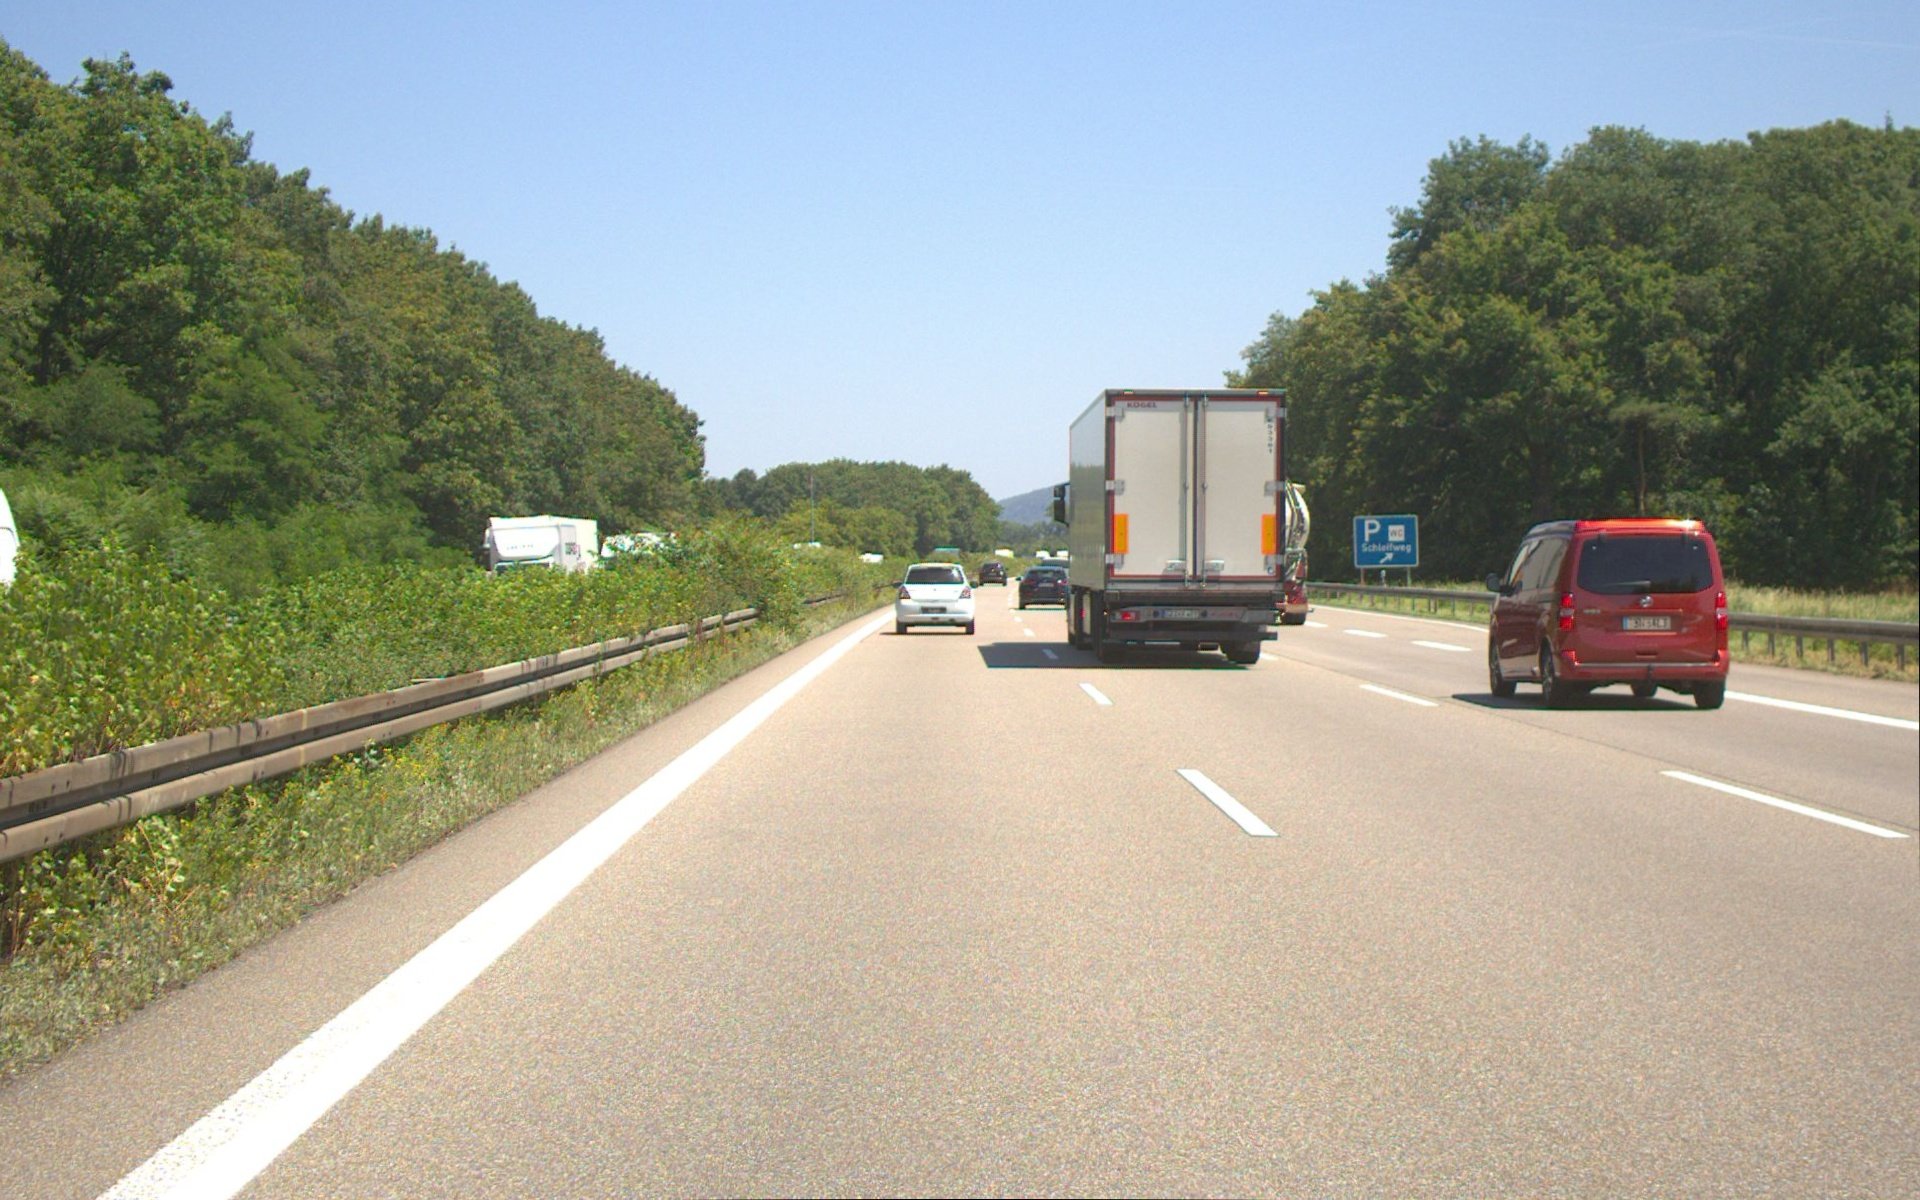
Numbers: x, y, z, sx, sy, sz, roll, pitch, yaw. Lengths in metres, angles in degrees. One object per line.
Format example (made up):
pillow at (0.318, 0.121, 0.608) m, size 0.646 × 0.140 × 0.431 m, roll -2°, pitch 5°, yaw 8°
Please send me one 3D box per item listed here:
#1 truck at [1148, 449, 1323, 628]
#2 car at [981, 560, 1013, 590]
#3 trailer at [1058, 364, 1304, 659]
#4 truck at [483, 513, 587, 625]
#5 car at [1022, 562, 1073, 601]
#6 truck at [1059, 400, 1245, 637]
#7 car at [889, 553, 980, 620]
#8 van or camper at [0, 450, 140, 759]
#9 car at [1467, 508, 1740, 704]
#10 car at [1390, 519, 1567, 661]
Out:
truck at (7.012, -1.582, 89.196) m, size 3.223 × 4.330 × 10.808 m, roll -1°, pitch 1°, yaw -2°
car at (2.518, -1.732, 234.348) m, size 2.107 × 2.007 × 4.000 m, roll 1°, pitch 1°, yaw -1°
trailer at (3.290, -1.332, 54.683) m, size 3.223 × 4.129 × 12.351 m, roll -1°, pitch 1°, yaw 1°
truck at (-13.407, -0.996, 108.871) m, size 2.410 × 3.342 × 7.001 m, roll -3°, pitch 1°, yaw -1°
car at (2.945, -0.630, 115.324) m, size 1.668 × 1.285 × 4.000 m, roll 0°, pitch 1°, yaw 2°
truck at (3.433, -1.462, 62.694) m, size 3.229 × 4.143 × 4.559 m, roll -1°, pitch 1°, yaw 2°
car at (-0.564, -0.304, 73.873) m, size 1.811 × 1.400 × 3.318 m, roll -1°, pitch 1°, yaw -3°
van or camper at (-9.843, 0.013, 33.820) m, size 1.993 × 2.836 × 7.001 m, roll -1°, pitch 1°, yaw -1°
car at (6.996, 0.031, 37.980) m, size 1.855 × 1.996 × 5.522 m, roll 1°, pitch 1°, yaw -1°
car at (7.646, -0.171, 51.025) m, size 1.993 × 2.007 × 4.000 m, roll 0°, pitch 1°, yaw 0°
